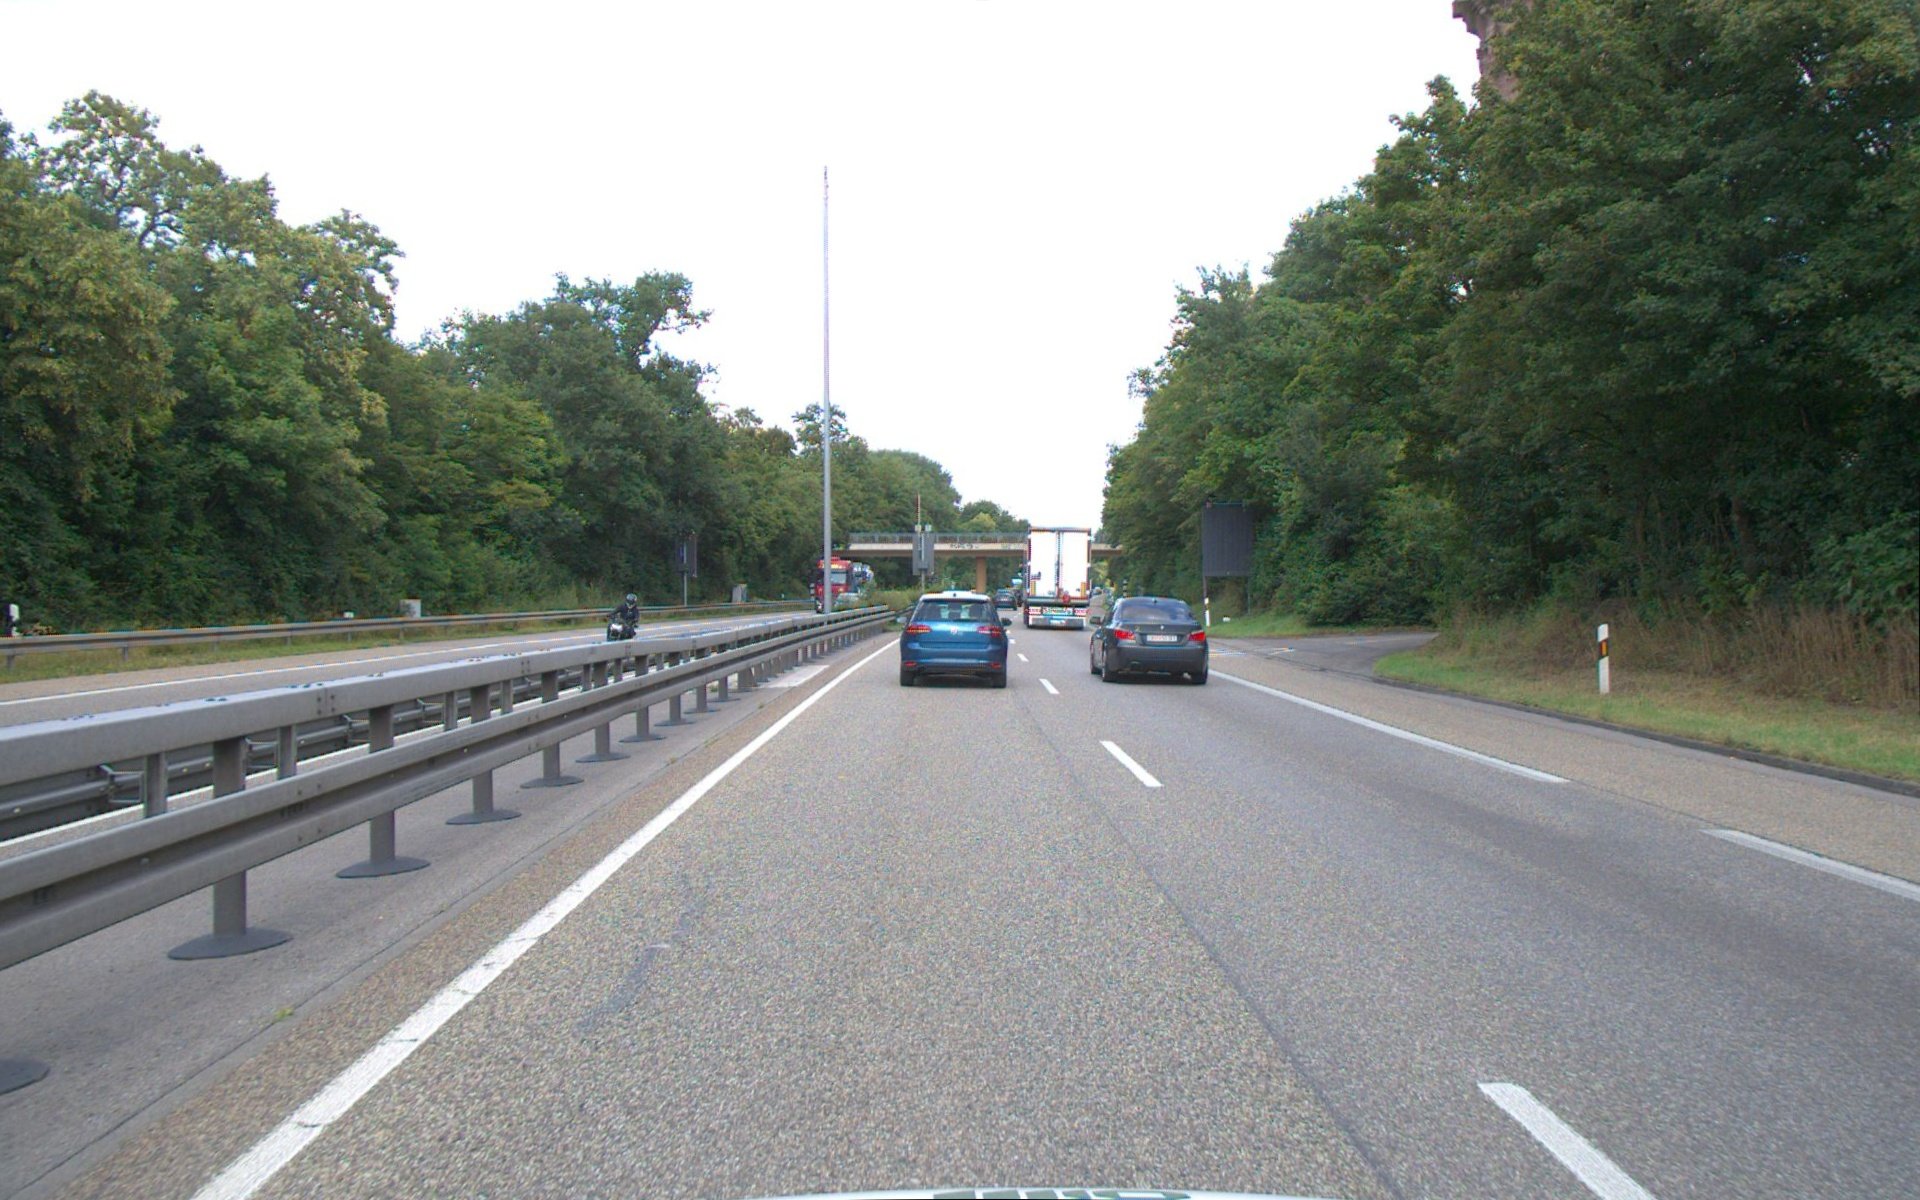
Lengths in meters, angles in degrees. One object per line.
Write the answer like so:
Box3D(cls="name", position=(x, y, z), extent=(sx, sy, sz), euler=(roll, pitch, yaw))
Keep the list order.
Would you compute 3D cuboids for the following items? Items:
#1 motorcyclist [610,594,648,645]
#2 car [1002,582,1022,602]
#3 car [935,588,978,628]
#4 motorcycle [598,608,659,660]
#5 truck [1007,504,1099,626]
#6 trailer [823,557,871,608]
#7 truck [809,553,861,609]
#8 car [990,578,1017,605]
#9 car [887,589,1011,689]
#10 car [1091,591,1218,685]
Box3D(cls="motorcyclist", position=(-8.265, 0.479, 41.365), extent=(0.808, 1.247, 0.720), euler=(0, 0, -1))
Box3D(cls="car", position=(4.841, -0.742, 152.899), extent=(1.729, 1.803, 4.026), euler=(0, 0, 4))
Box3D(cls="car", position=(-0.108, 0.298, 65.966), extent=(1.631, 1.526, 4.152), euler=(1, 0, 1))
Box3D(cls="motorcycle", position=(-8.314, 0.822, 41.618), extent=(0.979, 1.222, 2.997), euler=(0, 0, -1))
Box3D(cls="truck", position=(3.834, -1.437, 70.932), extent=(3.176, 4.798, 11.005), euler=(0, 1, -1))
Box3D(cls="trailer", position=(-9.062, -1.424, 133.603), extent=(2.877, 3.900, 10.311), euler=(-1, 0, 1))
Box3D(cls="truck", position=(-9.243, -1.390, 123.322), extent=(2.894, 3.923, 10.325), euler=(-1, 0, 1))
Box3D(cls="car", position=(3.332, -0.681, 127.209), extent=(1.913, 2.049, 4.002), euler=(-1, 0, 4))
Box3D(cls="car", position=(-0.114, 0.583, 27.394), extent=(1.669, 1.495, 4.002), euler=(1, 0, 5))
Box3D(cls="car", position=(3.396, 0.610, 29.737), extent=(1.738, 1.501, 4.881), euler=(1, 0, 1))
